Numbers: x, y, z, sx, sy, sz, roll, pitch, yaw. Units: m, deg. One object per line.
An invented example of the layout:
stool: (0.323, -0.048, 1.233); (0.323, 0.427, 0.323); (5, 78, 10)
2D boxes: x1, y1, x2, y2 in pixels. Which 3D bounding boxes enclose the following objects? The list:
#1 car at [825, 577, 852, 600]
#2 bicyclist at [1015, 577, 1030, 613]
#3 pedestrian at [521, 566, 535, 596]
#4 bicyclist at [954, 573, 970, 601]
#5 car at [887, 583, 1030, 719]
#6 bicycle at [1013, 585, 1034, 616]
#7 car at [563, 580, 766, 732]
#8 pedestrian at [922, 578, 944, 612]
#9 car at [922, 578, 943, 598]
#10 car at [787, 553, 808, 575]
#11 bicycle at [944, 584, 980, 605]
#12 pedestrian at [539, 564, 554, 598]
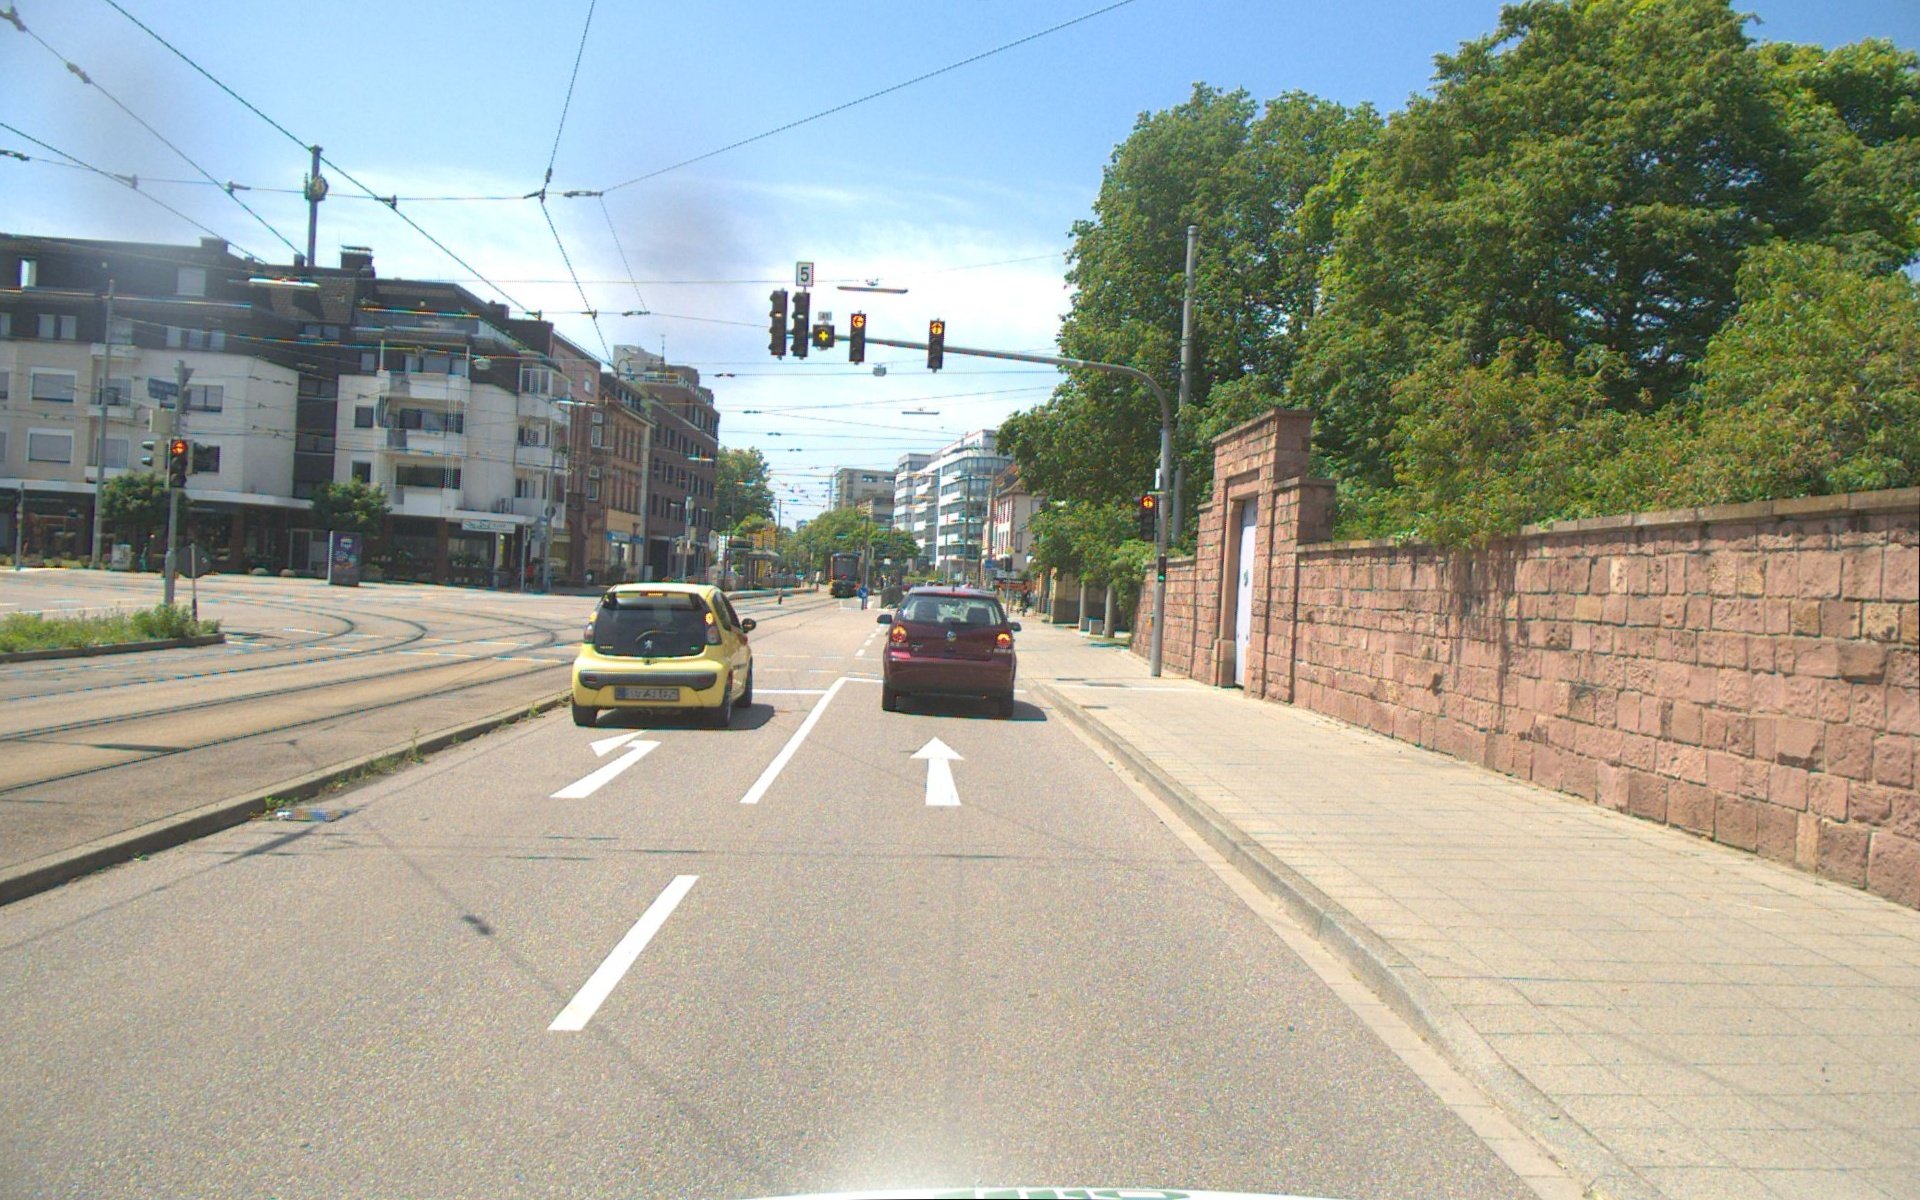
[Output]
car: (-9.550, -0.895, 129.869); (1.899, 1.670, 3.999); (1, 0, -1)
bicyclist: (3.287, -0.258, 86.939); (0.707, 1.850, 0.888); (1, 0, -1)
pedestrian: (-22.549, -0.987, 86.319); (0.474, 1.568, 0.538); (1, -1, 23)
bicyclist: (0.108, -0.666, 86.326); (0.751, 1.430, 0.506); (1, -1, -5)
car: (-0.067, 0.568, 21.035); (1.577, 1.489, 4.084); (3, 0, -2)
bicycle: (3.309, 0.011, 86.293); (0.818, 1.552, 3.999); (1, 0, -1)
car: (-3.128, 0.536, 18.096); (1.688, 1.470, 3.292); (1, 1, -2)
pedestrian: (-1.424, -0.262, 86.685); (0.964, 1.690, 0.916); (2, 0, -11)
car: (-2.124, -0.926, 126.479); (1.540, 1.440, 3.719); (0, 1, -1)
car: (-16.404, -3.633, 167.081); (1.700, 2.048, 3.999); (2, 1, -1)
bicycle: (0.087, -0.280, 86.339); (1.829, 1.025, 0.578); (1, 0, -6)
pedestrian: (-22.337, -1.021, 89.286); (0.497, 1.785, 0.606); (1, -1, 45)
